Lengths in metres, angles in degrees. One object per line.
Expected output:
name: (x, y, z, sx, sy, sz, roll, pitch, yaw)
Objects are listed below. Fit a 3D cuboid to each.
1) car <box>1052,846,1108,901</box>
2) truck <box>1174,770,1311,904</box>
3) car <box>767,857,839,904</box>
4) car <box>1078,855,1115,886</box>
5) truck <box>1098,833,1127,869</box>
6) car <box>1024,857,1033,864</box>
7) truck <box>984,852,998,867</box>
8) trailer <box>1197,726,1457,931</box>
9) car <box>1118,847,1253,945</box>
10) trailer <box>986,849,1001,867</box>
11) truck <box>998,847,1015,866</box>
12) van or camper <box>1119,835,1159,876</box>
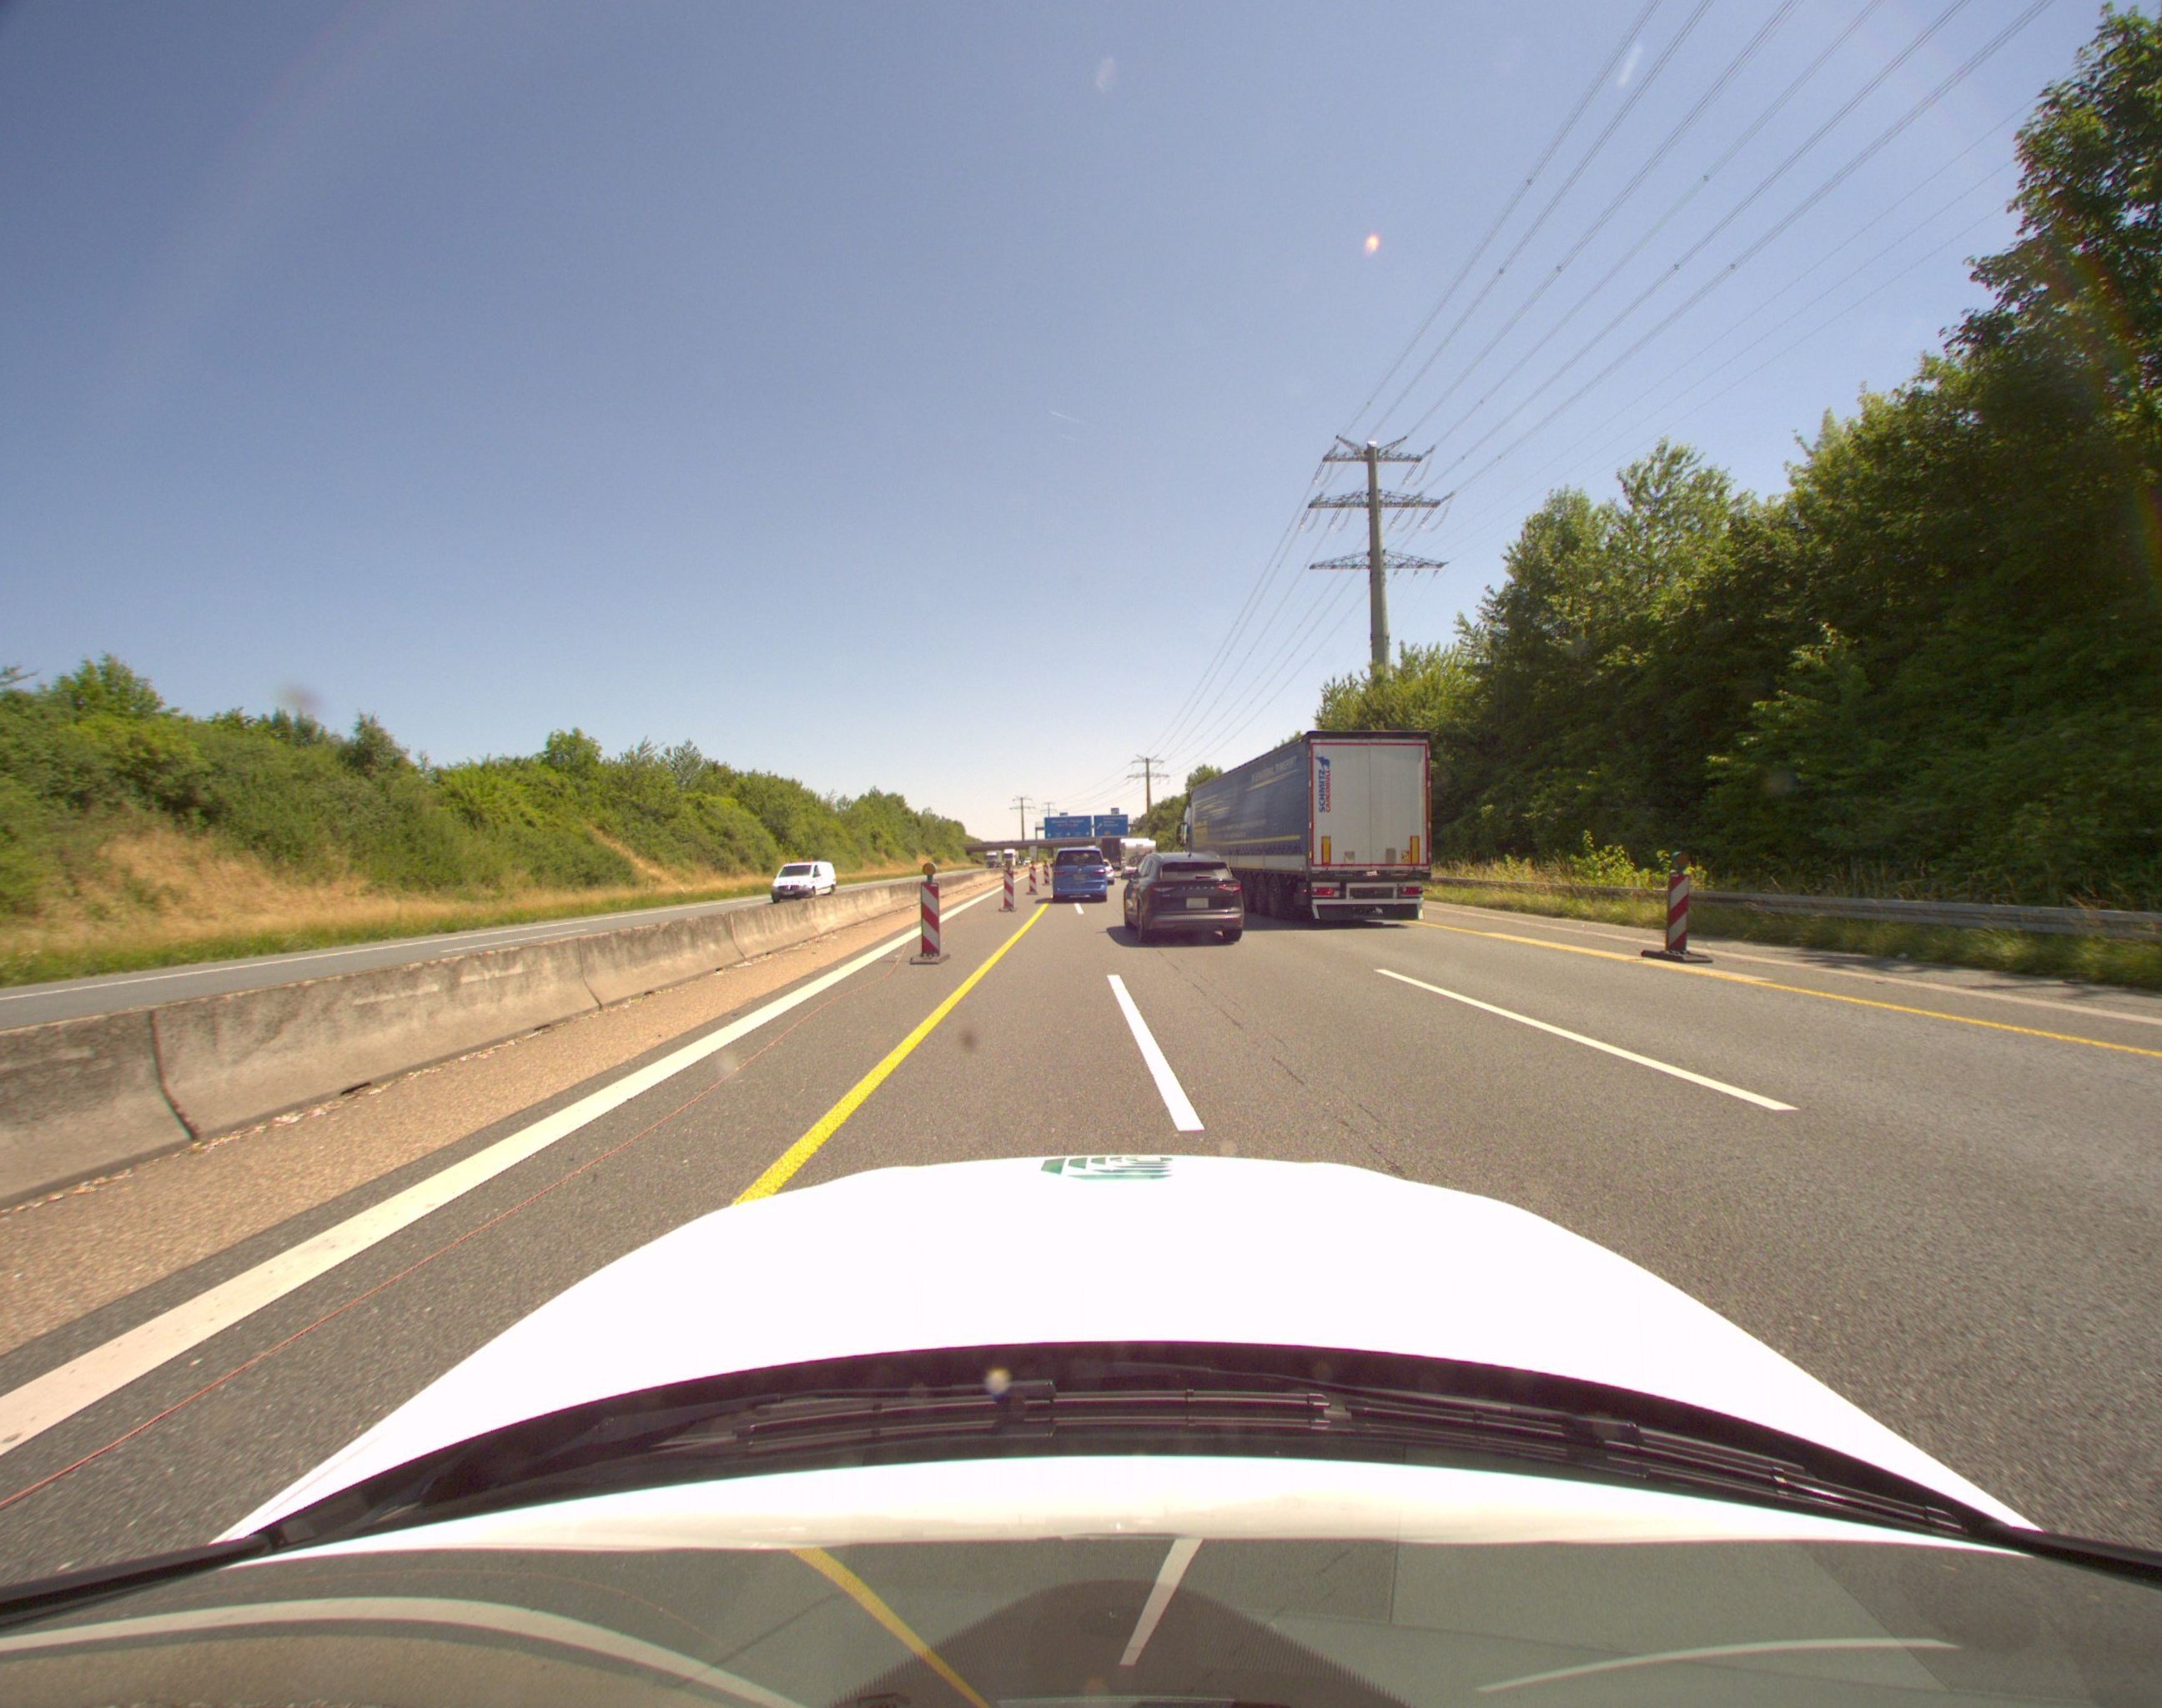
car: (-0.097, 0.696, 29.497, 1.891, 1.842, 4.438, 0, -1, -2)
truck: (5.459, -0.521, 29.085, 3.017, 4.087, 7.788, -1, 0, -2)
car: (-13.459, 1.215, 39.755, 1.958, 2.085, 4.934, -2, 0, -2)
car: (0.833, 0.910, 46.413, 1.891, 1.509, 4.440, 1, 1, -2)
truck: (3.667, -0.291, 98.817, 3.068, 4.146, 13.052, 0, 0, 0)
car: (-13.110, 1.653, 202.840, 1.861, 1.792, 5.453, -2, 0, 0)
truck: (-20.959, 1.292, 189.689, 2.457, 3.288, 6.920, -5, 0, -1)
trailer: (5.750, -0.501, 22.006, 3.058, 4.042, 11.476, -1, 0, -2)
car: (1.861, 0.697, 15.900, 1.891, 1.592, 4.439, -1, 0, -2)
trailer: (-21.147, 0.918, 197.372, 2.473, 4.180, 12.078, -4, 0, -1)
truck: (-17.605, 0.648, 193.865, 3.153, 4.224, 7.414, -2, 0, 0)
van or camper: (4.431, 0.129, 62.990, 2.578, 2.968, 6.084, -2, 0, 0)
